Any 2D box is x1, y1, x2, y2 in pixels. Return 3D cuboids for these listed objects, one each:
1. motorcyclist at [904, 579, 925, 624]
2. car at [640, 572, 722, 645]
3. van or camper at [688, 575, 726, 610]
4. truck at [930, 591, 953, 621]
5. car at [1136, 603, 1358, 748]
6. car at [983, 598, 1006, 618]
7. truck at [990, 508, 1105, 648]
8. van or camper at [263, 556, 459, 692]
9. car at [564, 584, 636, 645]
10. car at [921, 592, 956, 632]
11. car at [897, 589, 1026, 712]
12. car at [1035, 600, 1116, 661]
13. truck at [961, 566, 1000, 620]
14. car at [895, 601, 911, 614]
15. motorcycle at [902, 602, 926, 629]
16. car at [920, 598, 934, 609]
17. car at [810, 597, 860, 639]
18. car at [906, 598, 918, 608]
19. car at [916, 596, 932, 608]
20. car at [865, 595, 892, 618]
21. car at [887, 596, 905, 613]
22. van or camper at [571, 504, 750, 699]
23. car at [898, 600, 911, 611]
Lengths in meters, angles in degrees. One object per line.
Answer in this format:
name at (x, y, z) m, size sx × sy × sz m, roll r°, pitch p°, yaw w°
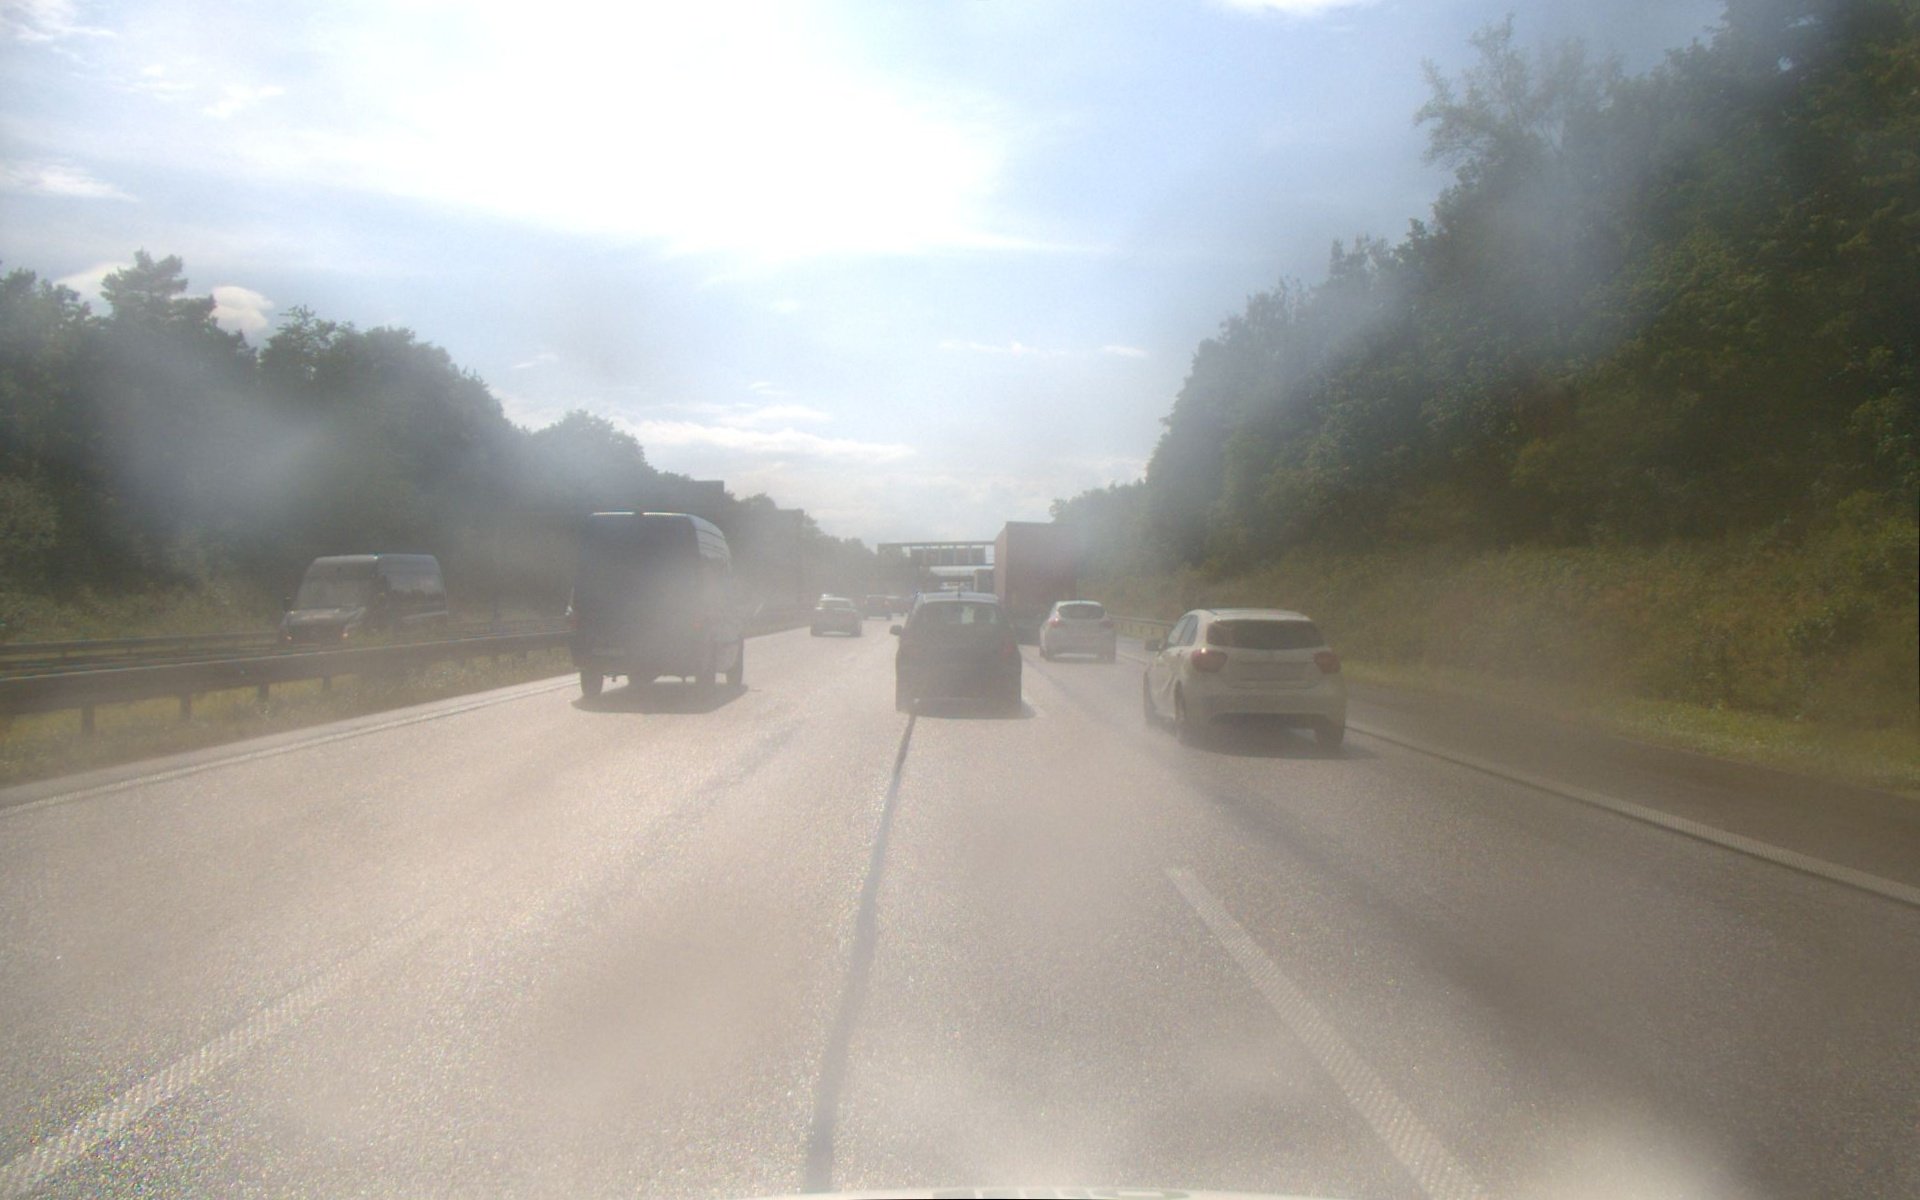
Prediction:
motorcyclist at (-1.739, 0.060, 63.039) m, size 0.785 × 1.662 × 1.013 m, roll 1°, pitch 0°, yaw -2°
car at (-10.062, 0.302, 60.046) m, size 2.139 × 2.495 × 5.745 m, roll 1°, pitch 0°, yaw -2°
van or camper at (-22.332, -0.633, 146.153) m, size 2.450 × 2.972 × 7.135 m, roll 1°, pitch 0°, yaw -2°
truck at (-1.926, 0.576, 167.726) m, size 2.148 × 2.926 × 4.847 m, roll 1°, pitch 0°, yaw -2°
car at (3.149, 0.774, 18.937) m, size 1.658 × 1.450 × 4.218 m, roll 1°, pitch 0°, yaw -2°
car at (2.492, 0.544, 119.839) m, size 1.521 × 1.407 × 3.208 m, roll 1°, pitch 0°, yaw -2°
truck at (3.178, -0.741, 65.738) m, size 3.575 × 4.803 × 16.777 m, roll 1°, pitch 0°, yaw 0°
van or camper at (-14.030, 0.529, 39.305) m, size 2.217 × 2.920 × 6.838 m, roll 1°, pitch 0°, yaw -1°
car at (-18.167, 0.705, 83.830) m, size 2.217 × 2.920 × 6.787 m, roll 1°, pitch 0°, yaw -1°
car at (-1.013, 0.527, 75.806) m, size 1.501 × 1.777 × 3.483 m, roll 1°, pitch 0°, yaw -2°
car at (-0.038, 0.672, 23.576) m, size 1.683 × 1.595 × 3.483 m, roll 1°, pitch 0°, yaw -2°
car at (2.910, 0.756, 42.194) m, size 1.647 × 1.467 × 3.903 m, roll 1°, pitch 0°, yaw -2°
truck at (1.706, -0.575, 145.926) m, size 3.189 × 4.558 × 12.419 m, roll 1°, pitch 0°, yaw 0°
car at (-5.641, 0.760, 163.893) m, size 1.518 × 1.289 × 3.483 m, roll 1°, pitch 0°, yaw -2°
motorcycle at (-1.762, 0.585, 63.080) m, size 0.873 × 1.018 × 2.895 m, roll 1°, pitch 0°, yaw -2°
car at (-5.012, 0.531, 251.270) m, size 1.953 × 1.759 × 3.999 m, roll 0°, pitch 0°, yaw -1°
car at (-4.870, 0.677, 64.827) m, size 1.817 × 1.578 × 3.483 m, roll 1°, pitch 0°, yaw -2°
car at (-6.123, 0.415, 210.236) m, size 1.518 × 1.289 × 3.483 m, roll 1°, pitch 0°, yaw -2°
car at (-5.062, 0.245, 231.981) m, size 1.952 × 1.731 × 4.001 m, roll 0°, pitch 0°, yaw 2°
car at (-5.526, 0.448, 112.189) m, size 1.716 × 1.482 × 3.388 m, roll 1°, pitch 0°, yaw -2°
car at (-5.357, 0.396, 138.982) m, size 1.431 × 1.418 × 3.310 m, roll 1°, pitch 0°, yaw -2°
van or camper at (-4.557, 0.027, 25.974) m, size 1.953 × 2.715 × 5.382 m, roll 1°, pitch 0°, yaw -2°
car at (-6.566, 0.671, 194.245) m, size 1.518 × 1.289 × 3.483 m, roll 1°, pitch 0°, yaw -2°
